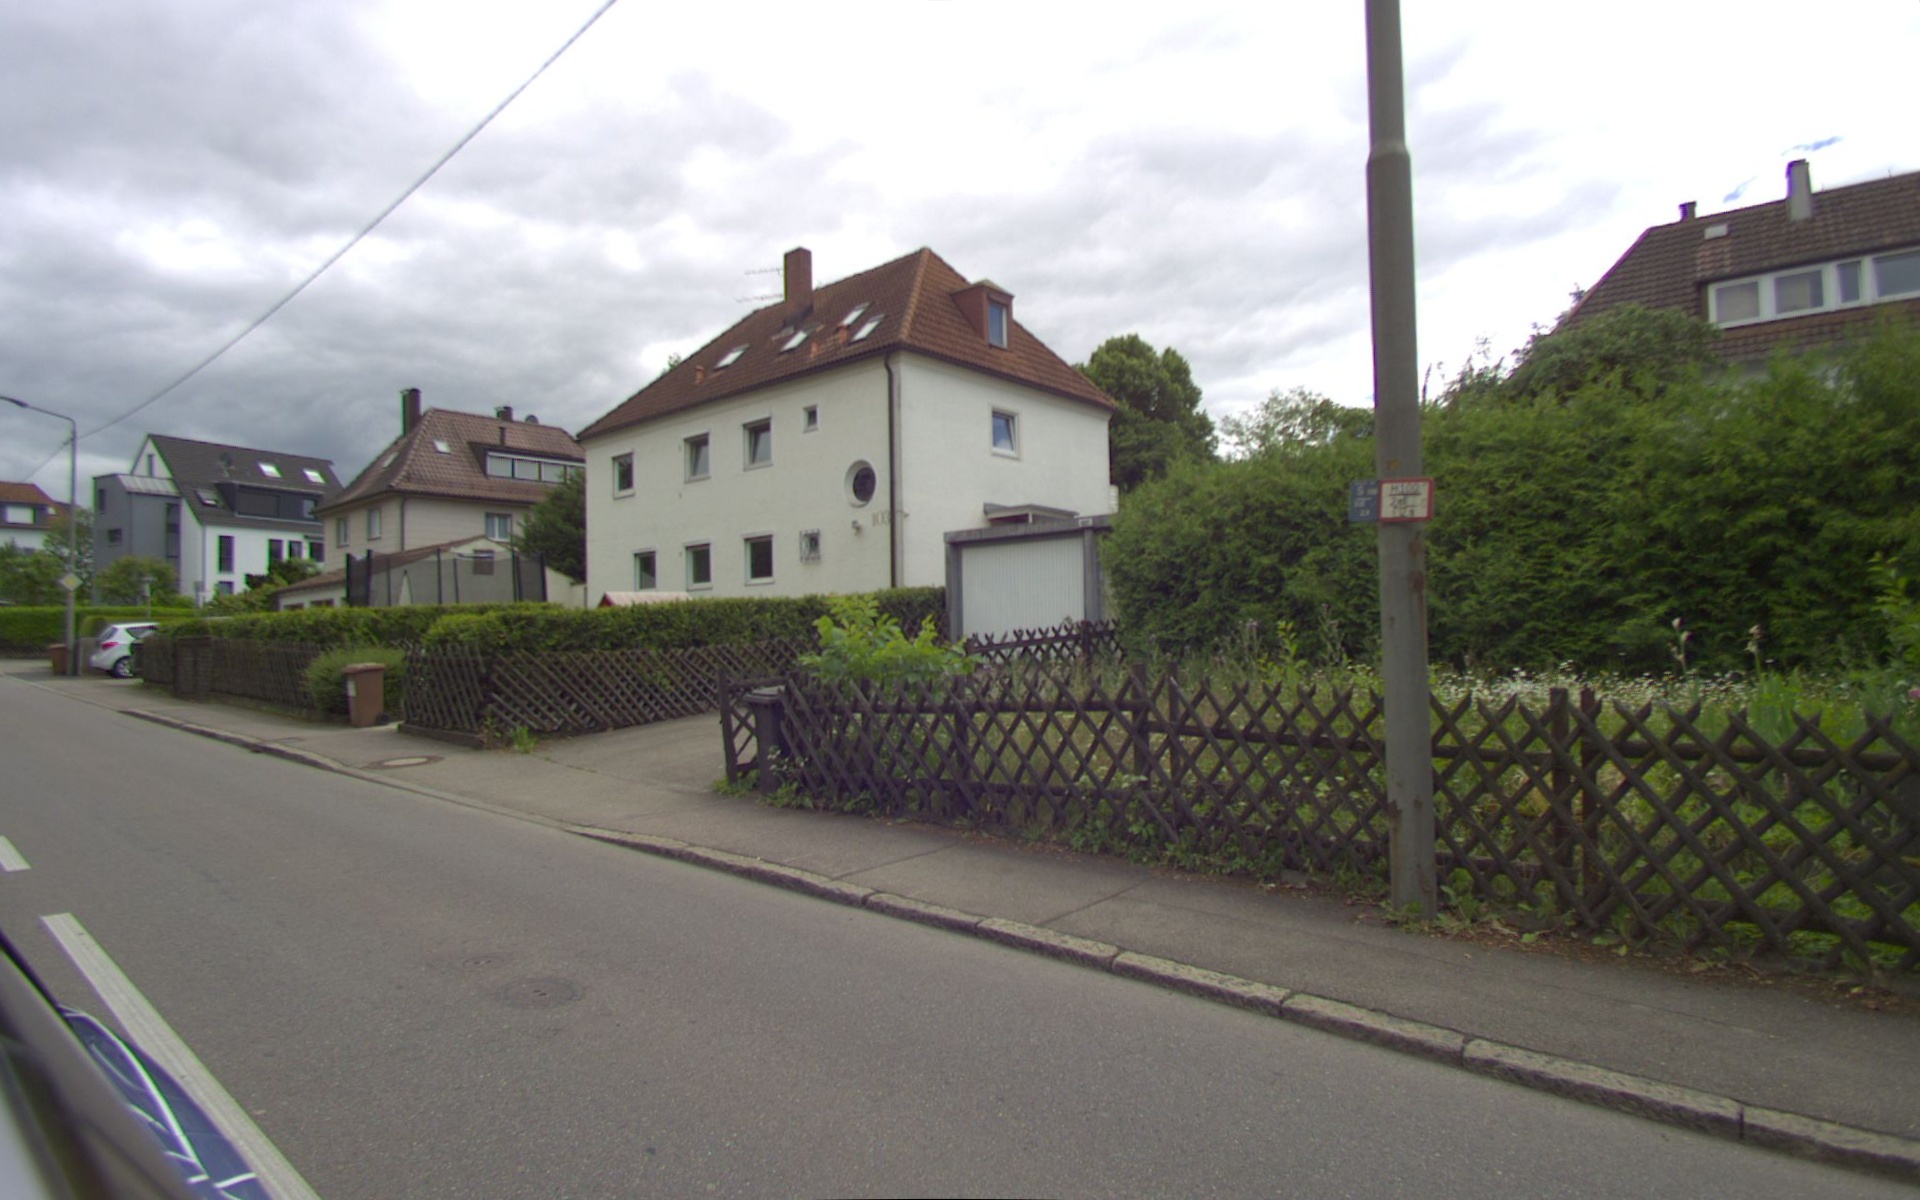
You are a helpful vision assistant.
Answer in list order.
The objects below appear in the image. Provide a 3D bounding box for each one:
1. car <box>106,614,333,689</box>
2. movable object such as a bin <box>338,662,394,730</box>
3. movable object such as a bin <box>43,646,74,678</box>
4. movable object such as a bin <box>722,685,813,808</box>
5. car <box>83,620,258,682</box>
[{"bbox_3d":[-19.906,1.317,27.378,1.881,1.682,4.624,-2,1,39],"label":"car"},{"bbox_3d":[-8.698,1.387,14.815,0.625,0.920,0.561,-1,-1,-39],"label":"movable object such as a bin"},{"bbox_3d":[-27.768,1.912,31.195,0.679,0.961,0.573,1,-2,-40],"label":"movable object such as a bin"},{"bbox_3d":[-1.623,1.211,8.534,0.537,0.945,0.544,-2,-2,43],"label":"movable object such as a bin"},{"bbox_3d":[-23.984,1.483,30.849,1.718,1.606,3.946,-1,1,41],"label":"car"}]
